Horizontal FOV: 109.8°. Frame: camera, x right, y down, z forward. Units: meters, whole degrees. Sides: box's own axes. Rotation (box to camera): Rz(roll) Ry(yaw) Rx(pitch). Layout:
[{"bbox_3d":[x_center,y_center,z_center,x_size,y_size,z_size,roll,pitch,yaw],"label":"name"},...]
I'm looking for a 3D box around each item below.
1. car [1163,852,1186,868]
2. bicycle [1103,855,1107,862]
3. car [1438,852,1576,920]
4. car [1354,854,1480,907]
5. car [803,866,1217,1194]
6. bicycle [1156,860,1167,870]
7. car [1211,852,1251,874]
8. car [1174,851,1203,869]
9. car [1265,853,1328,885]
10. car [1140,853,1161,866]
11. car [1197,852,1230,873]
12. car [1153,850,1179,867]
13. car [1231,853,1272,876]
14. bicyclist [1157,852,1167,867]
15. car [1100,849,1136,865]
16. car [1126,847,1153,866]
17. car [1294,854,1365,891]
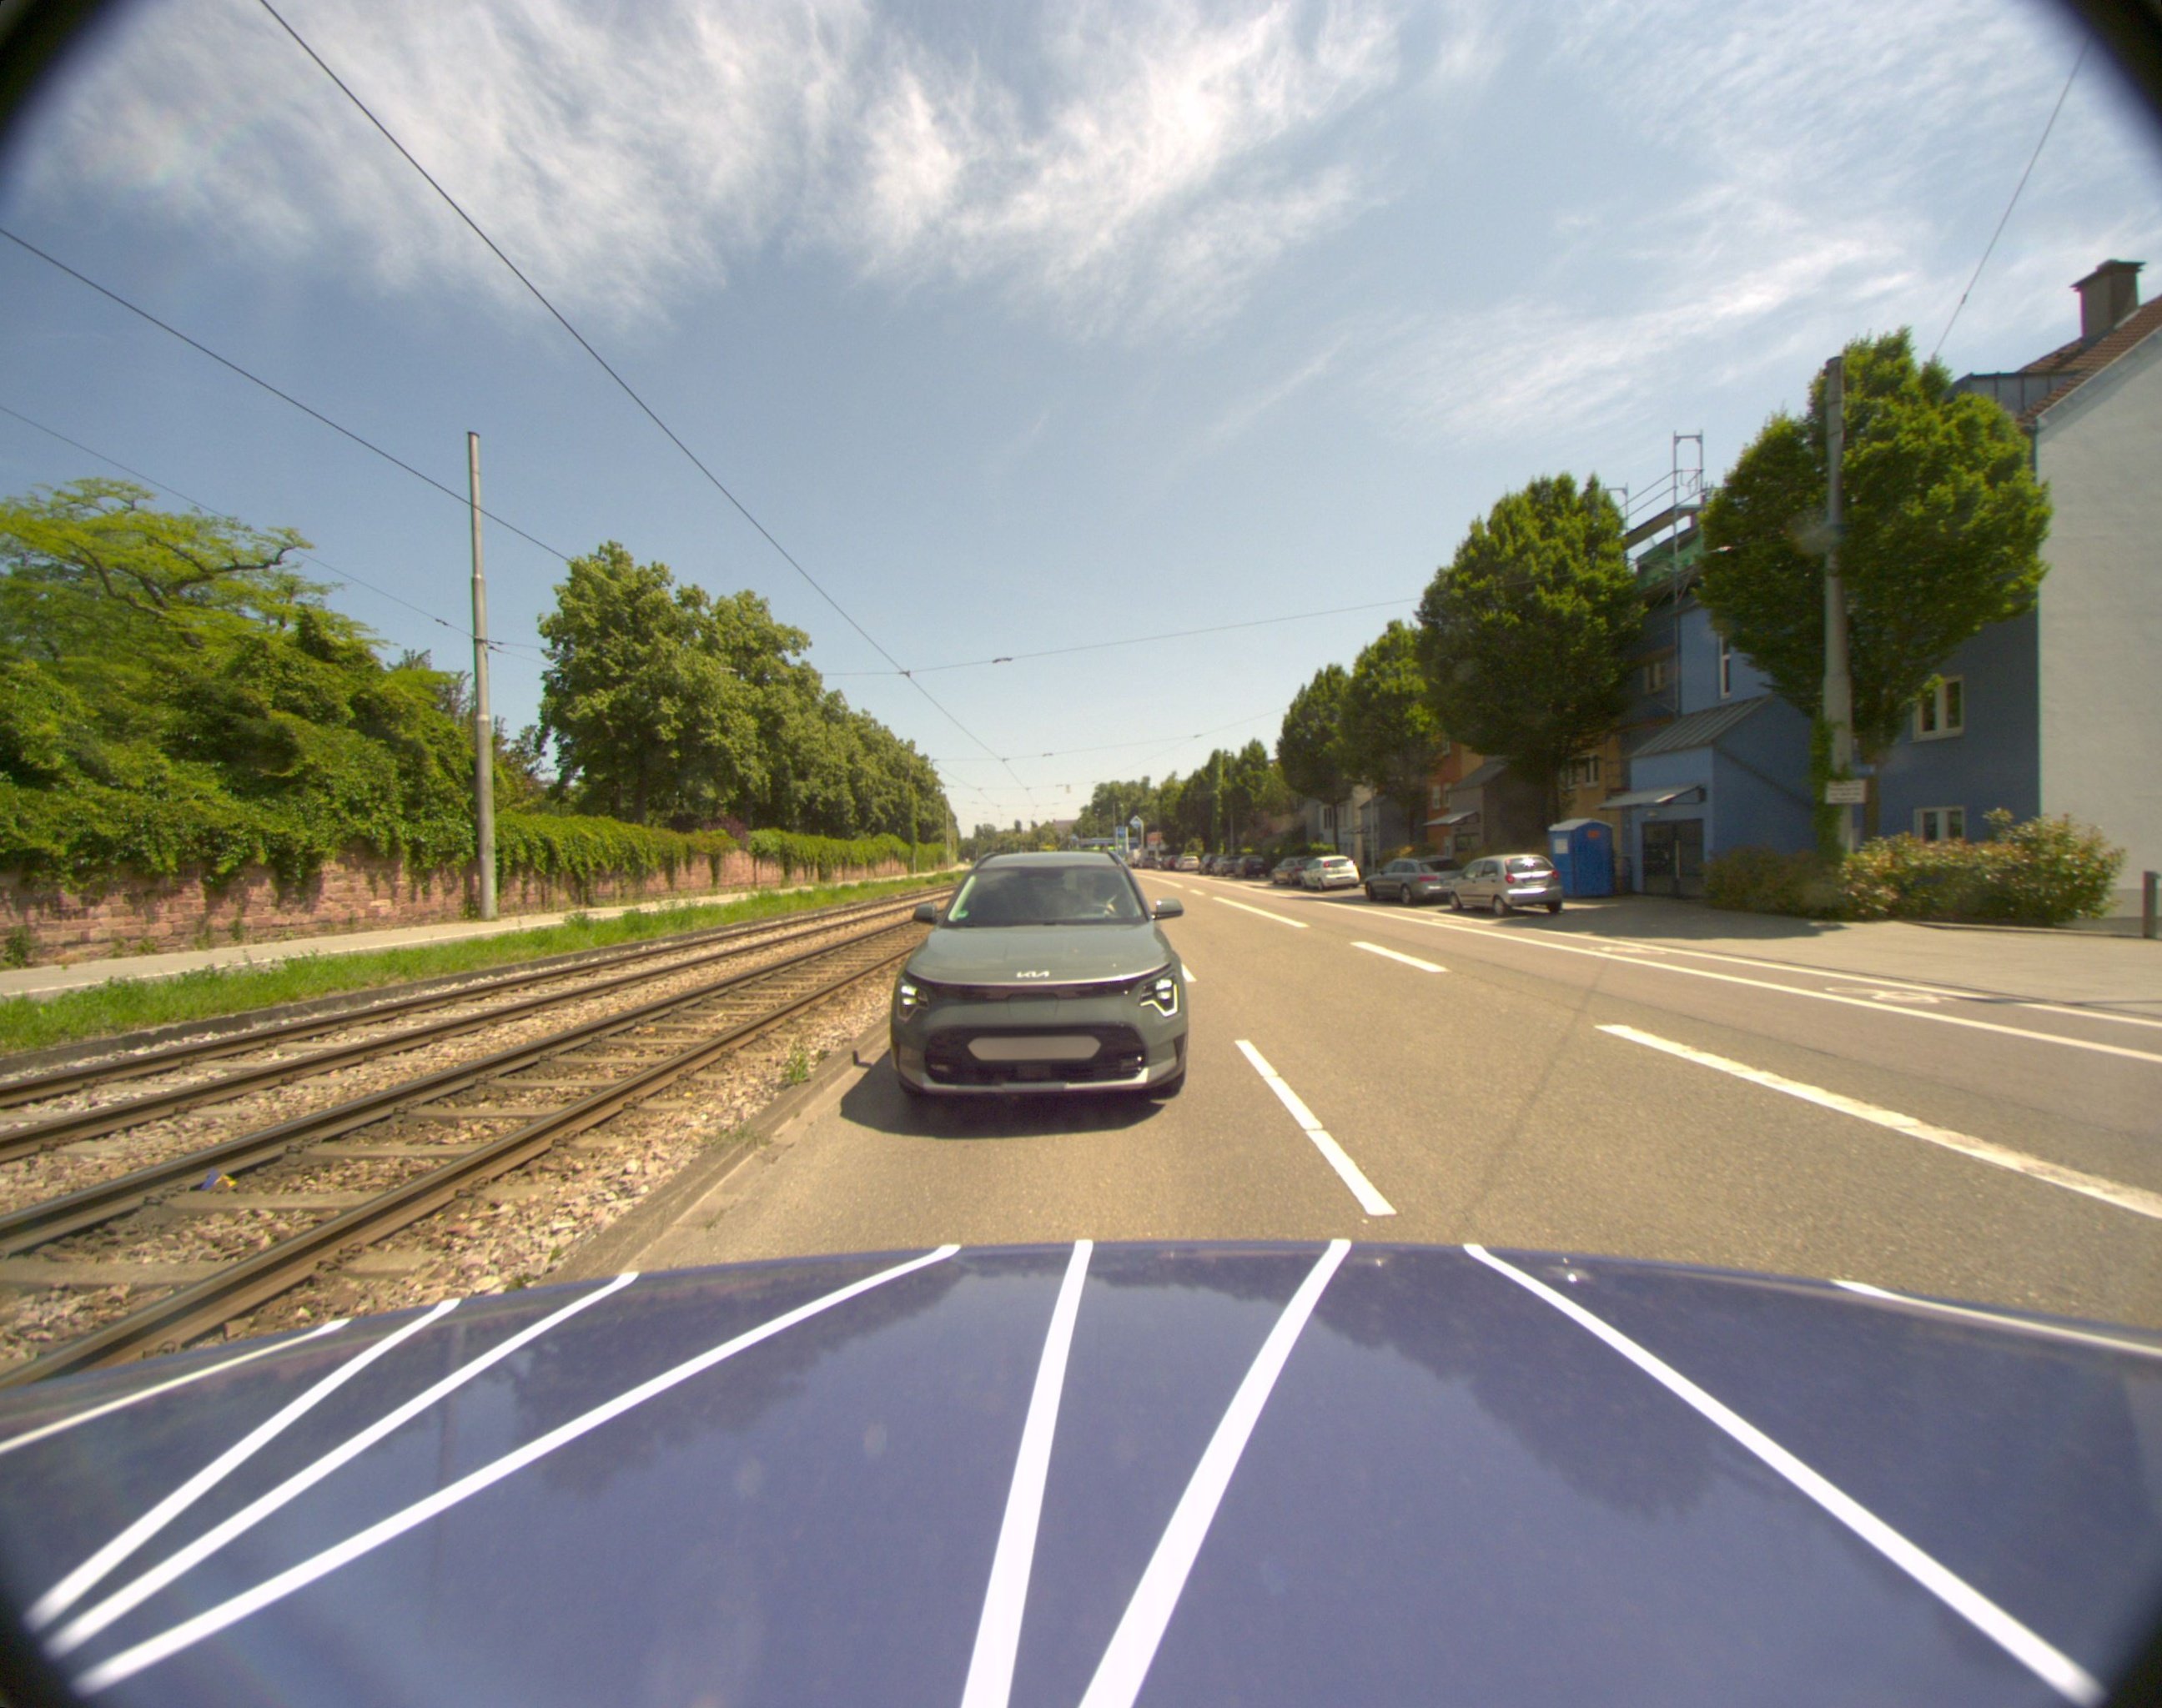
[{"bbox_3d":[9.837,0.644,79.996,1.604,1.584,3.680,-3,0,-6],"label":"car"},{"bbox_3d":[4.090,0.716,127.703,0.641,1.089,1.639,1,1,3],"label":"bicycle"},{"bbox_3d":[11.039,0.768,19.977,1.597,1.487,3.448,-6,0,1],"label":"car"},{"bbox_3d":[10.974,0.824,25.303,1.791,1.441,5.133,-5,-1,0],"label":"car"},{"bbox_3d":[-0.269,0.957,5.926,2.062,1.534,4.001,-3,0,3],"label":"car"},{"bbox_3d":[7.928,1.048,74.710,0.703,0.945,2.243,1,-1,-2],"label":"bicycle"},{"bbox_3d":[11.186,0.682,56.963,1.830,1.487,4.756,-3,0,-1],"label":"car"},{"bbox_3d":[10.446,0.615,74.104,1.845,1.573,4.495,-3,0,-2],"label":"car"},{"bbox_3d":[11.383,0.751,40.523,1.708,1.421,4.750,-6,0,-3],"label":"car"},{"bbox_3d":[8.557,0.705,93.900,1.870,1.528,4.142,-3,0,-4],"label":"car"},{"bbox_3d":[10.926,0.649,62.783,1.772,1.579,4.147,-3,0,-3],"label":"car"},{"bbox_3d":[9.507,0.469,85.204,1.999,1.783,4.556,-2,0,-5],"label":"car"},{"bbox_3d":[11.516,0.681,51.673,1.754,1.424,4.257,-4,0,0],"label":"car"},{"bbox_3d":[7.931,0.569,74.597,0.737,1.422,1.124,2,1,-2],"label":"bicyclist"},{"bbox_3d":[5.924,0.500,121.405,5.221,2.294,2.287,-3,0,11],"label":"car"},{"bbox_3d":[7.654,0.321,100.137,2.285,2.294,5.226,-3,0,-8],"label":"car"},{"bbox_3d":[11.389,0.804,35.164,1.750,1.434,4.420,-6,0,0],"label":"car"}]
